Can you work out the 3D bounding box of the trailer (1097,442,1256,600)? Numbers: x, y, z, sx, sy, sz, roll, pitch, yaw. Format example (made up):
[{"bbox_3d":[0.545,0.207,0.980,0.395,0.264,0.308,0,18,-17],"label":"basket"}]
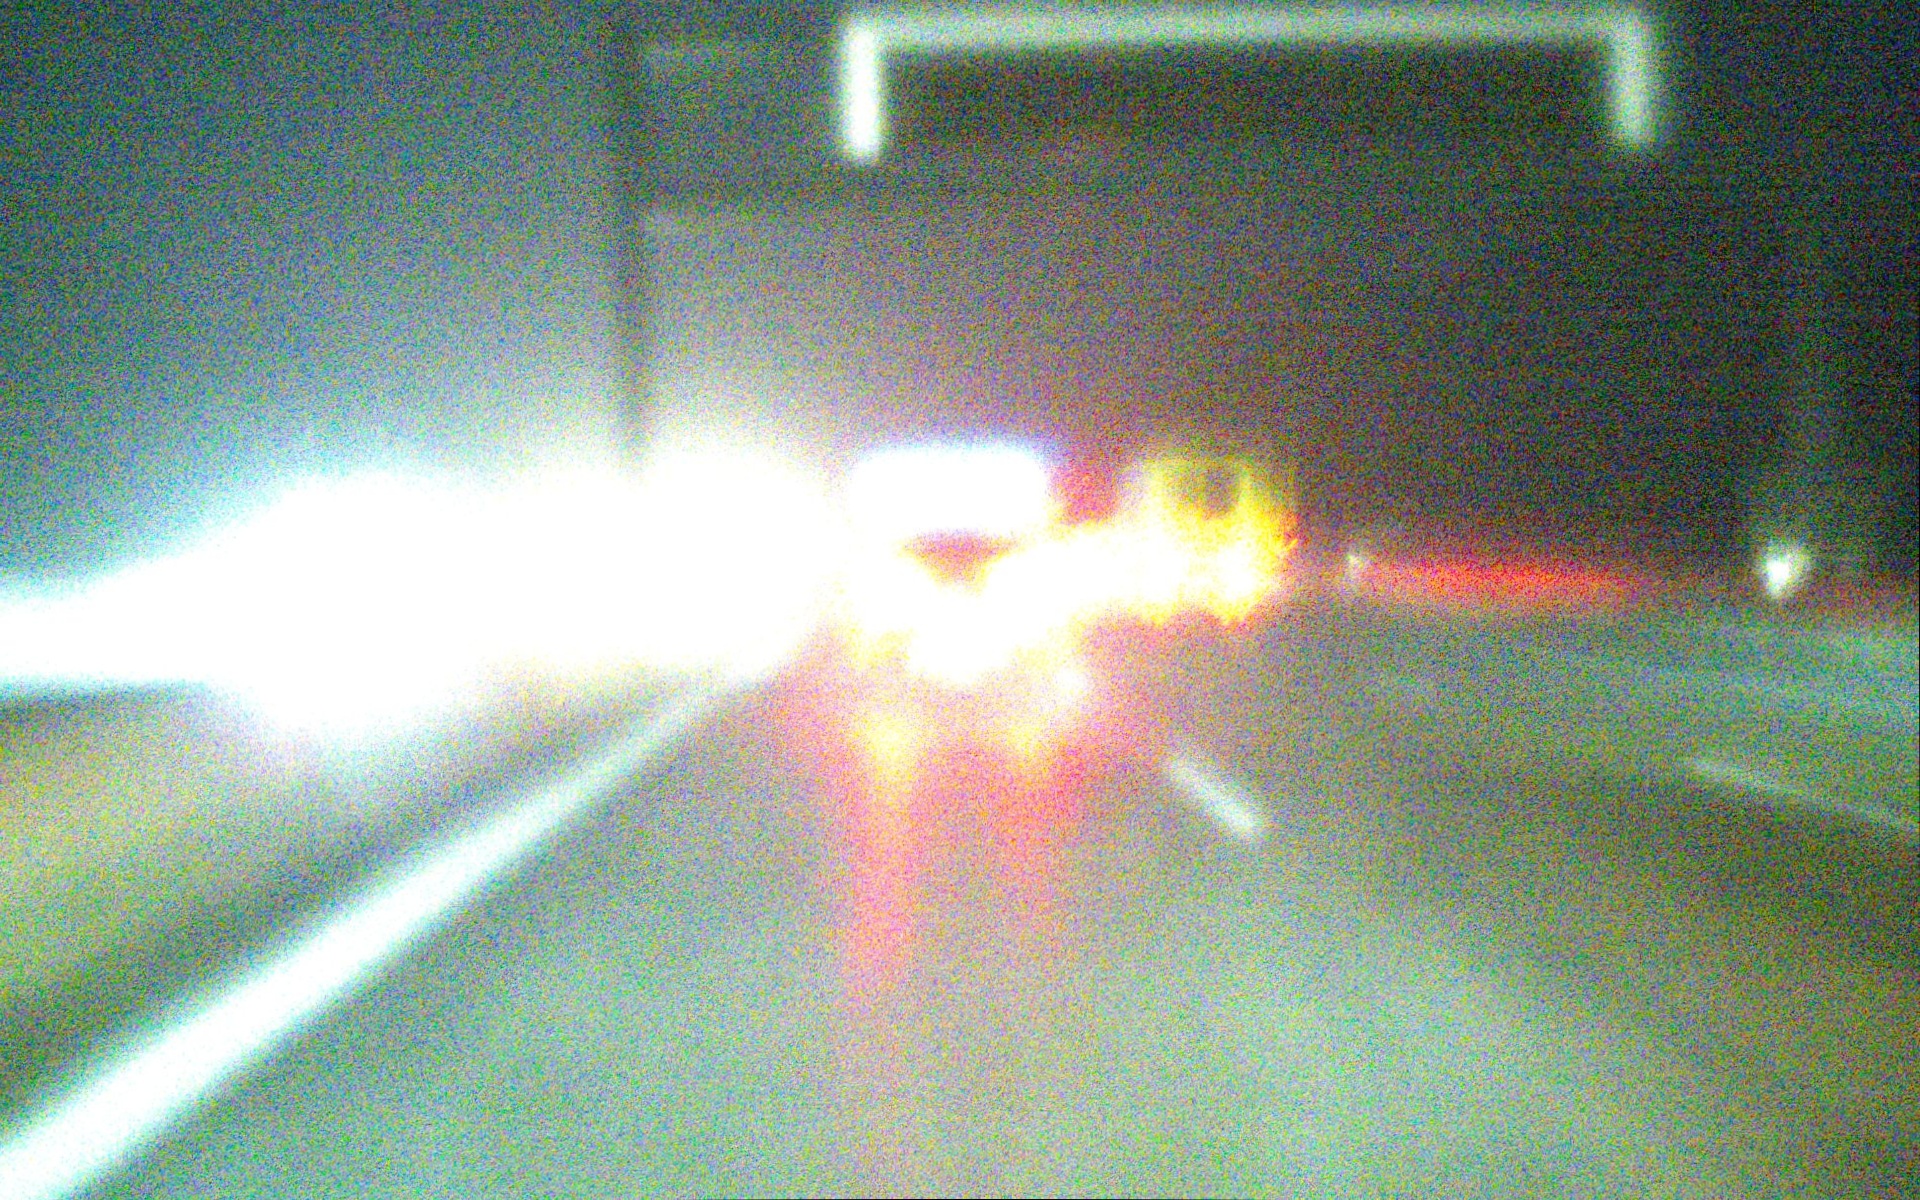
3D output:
[{"bbox_3d":[6.059,-2.146,98.577,3.041,4.094,13.830,-2,0,-2],"label":"trailer"}]

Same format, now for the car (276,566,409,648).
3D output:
[{"bbox_3d":[-13.384,0.117,74.785,1.993,1.657,4.809,-2,1,0],"label":"car"}]

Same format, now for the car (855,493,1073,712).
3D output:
[{"bbox_3d":[0.025,0.015,33.441,1.993,2.007,4.000,0,0,0],"label":"car"}]

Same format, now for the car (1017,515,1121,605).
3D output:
[{"bbox_3d":[2.560,-0.925,81.544,1.993,2.007,4.001,-2,0,-4],"label":"car"}]
